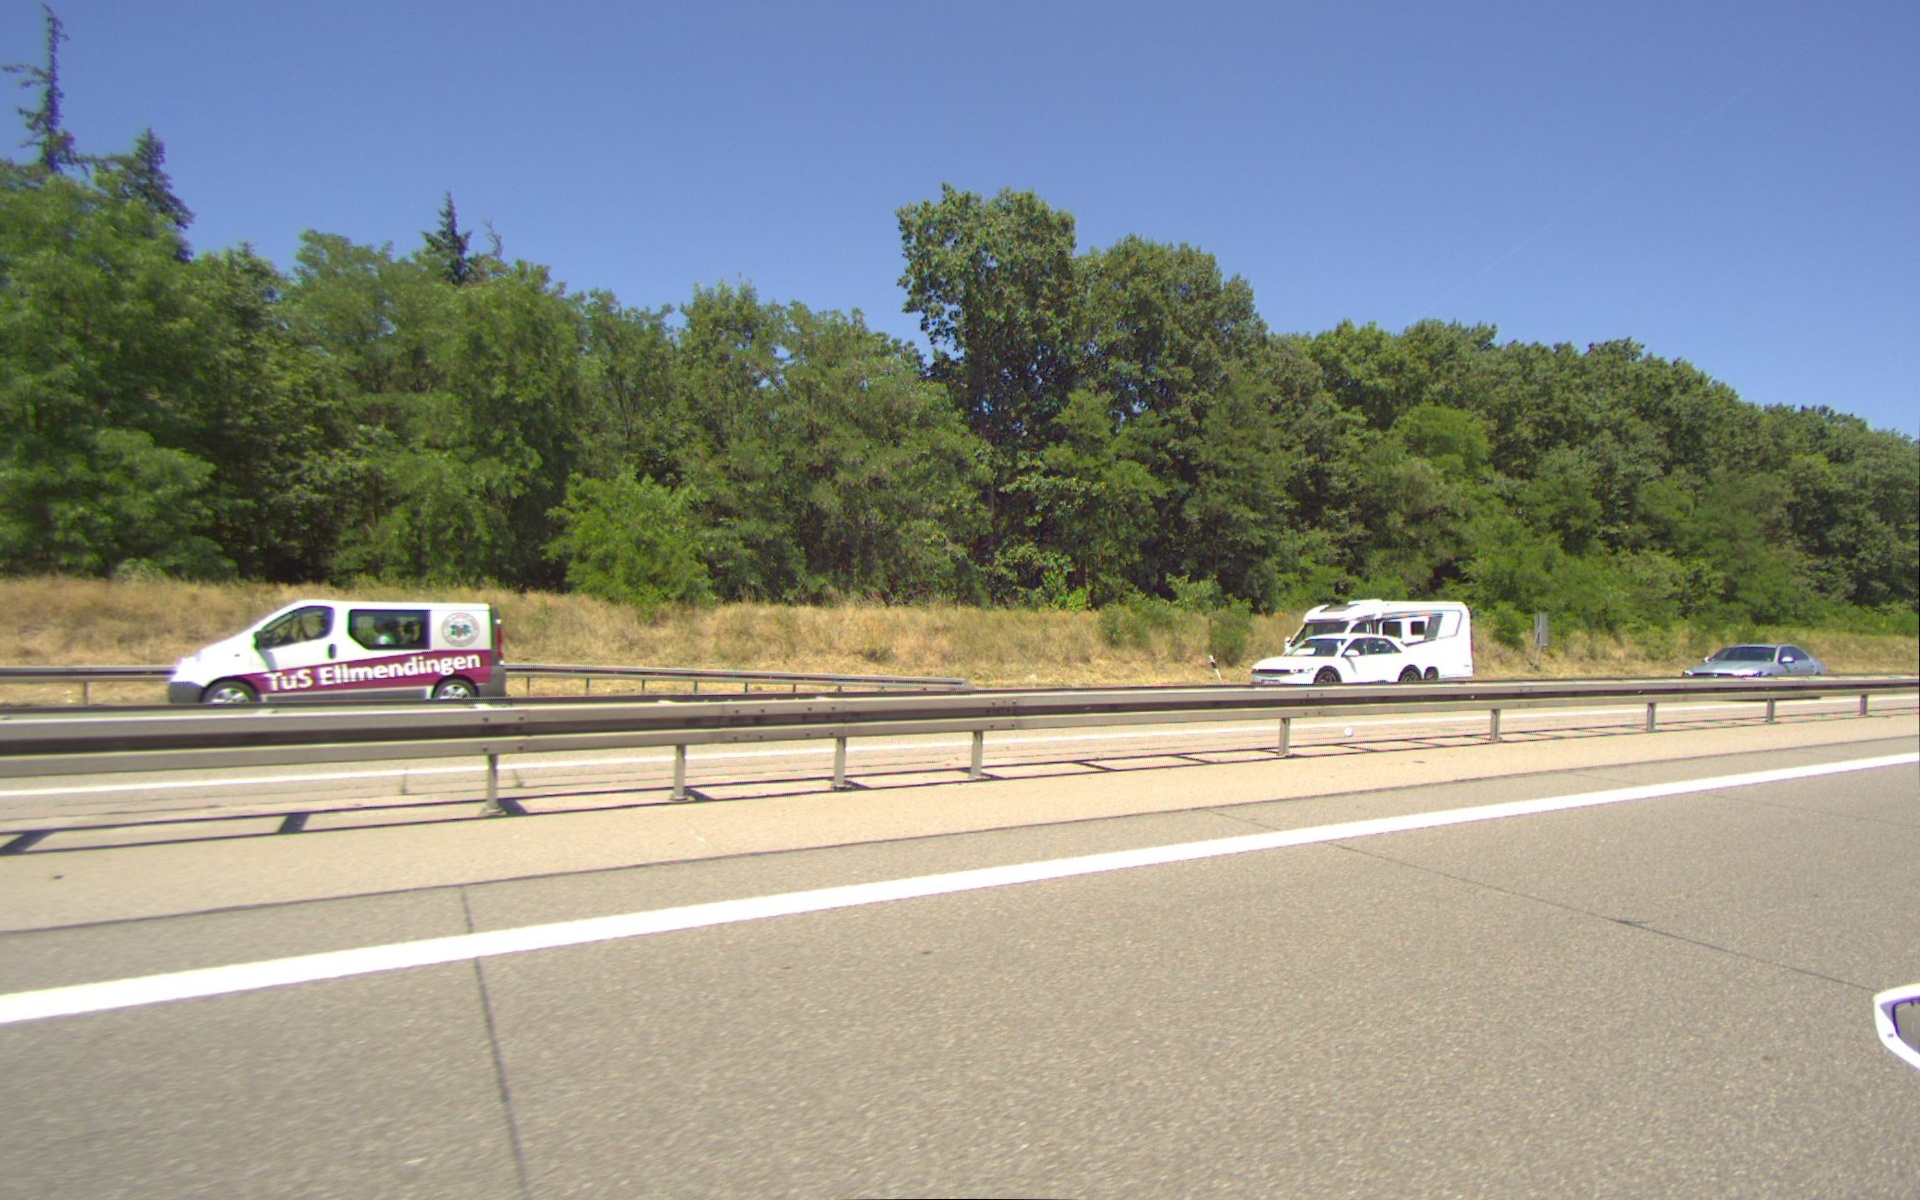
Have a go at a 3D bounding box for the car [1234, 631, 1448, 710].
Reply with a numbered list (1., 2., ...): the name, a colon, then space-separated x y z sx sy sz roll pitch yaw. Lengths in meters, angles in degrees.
1. car: 9.173 1.661 24.065 5.183 1.716 1.984 2 -3 -30

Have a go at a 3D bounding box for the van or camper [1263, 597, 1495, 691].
1. van or camper: 12.973 1.387 30.862 7.679 2.608 2.451 2 -3 -30

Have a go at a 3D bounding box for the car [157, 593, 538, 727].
1. car: -10.073 1.008 17.015 5.183 1.978 1.984 2 -3 -30

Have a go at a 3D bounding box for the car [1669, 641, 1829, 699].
1. car: 20.651 1.807 26.268 4.301 1.391 1.829 2 -3 -30
